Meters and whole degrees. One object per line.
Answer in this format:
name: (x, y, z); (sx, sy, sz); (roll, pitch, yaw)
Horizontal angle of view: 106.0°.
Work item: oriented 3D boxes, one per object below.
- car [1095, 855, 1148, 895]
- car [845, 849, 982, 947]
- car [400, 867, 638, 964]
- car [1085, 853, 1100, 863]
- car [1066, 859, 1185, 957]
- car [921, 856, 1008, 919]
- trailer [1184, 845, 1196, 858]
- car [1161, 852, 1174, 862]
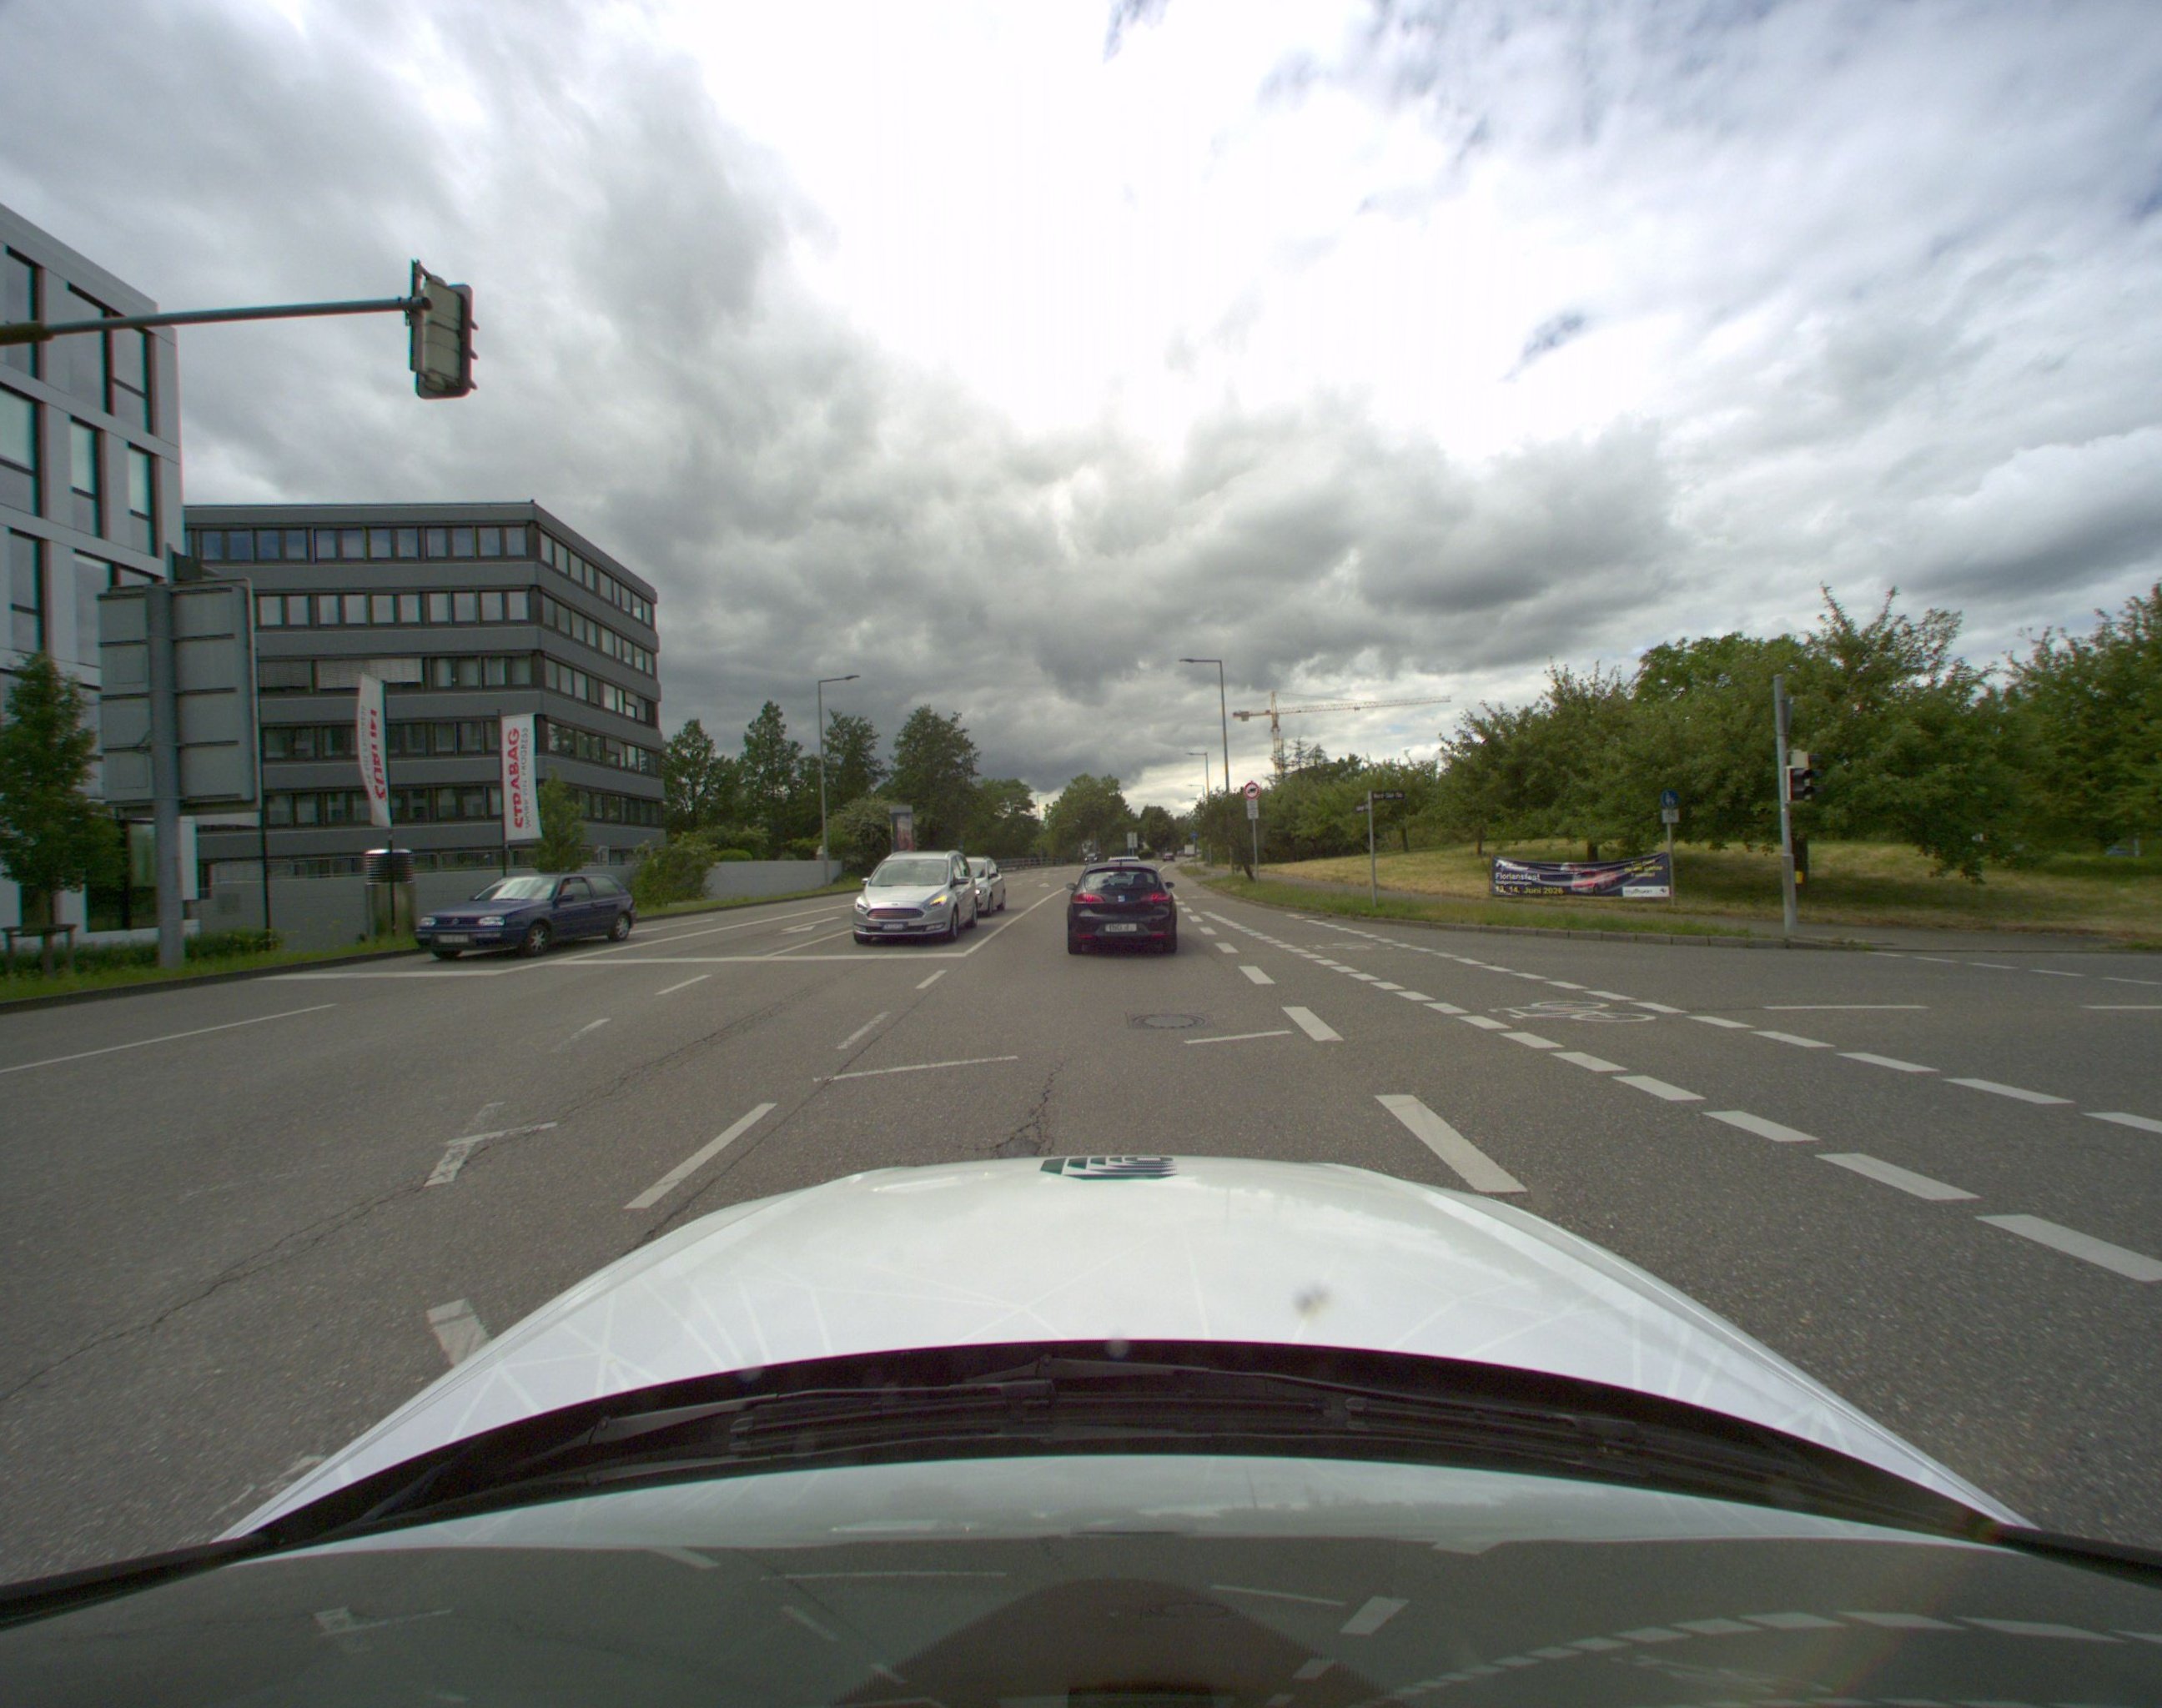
car: (1.540, 0.807, 32.089); (1.829, 1.467, 3.749); (-1, -1, -1)
car: (-3.195, 0.759, 16.512); (1.815, 1.686, 4.644); (-1, 0, 0)
car: (-9.922, 1.006, 14.790); (1.548, 1.419, 3.896); (-1, 0, 1)
car: (1.711, 0.601, 121.975); (1.704, 1.581, 3.752); (-1, -1, 10)
car: (0.637, 0.811, 13.861); (1.707, 1.417, 3.456); (-1, 0, -2)
car: (-3.116, 0.852, 22.493); (1.654, 1.518, 4.086); (-1, 0, 2)
trailer: (26.567, -0.571, 198.347); (2.474, 3.073, 5.607); (-1, -1, 13)
car: (14.356, 0.525, 134.944); (1.982, 1.565, 4.481); (-2, 0, 8)
